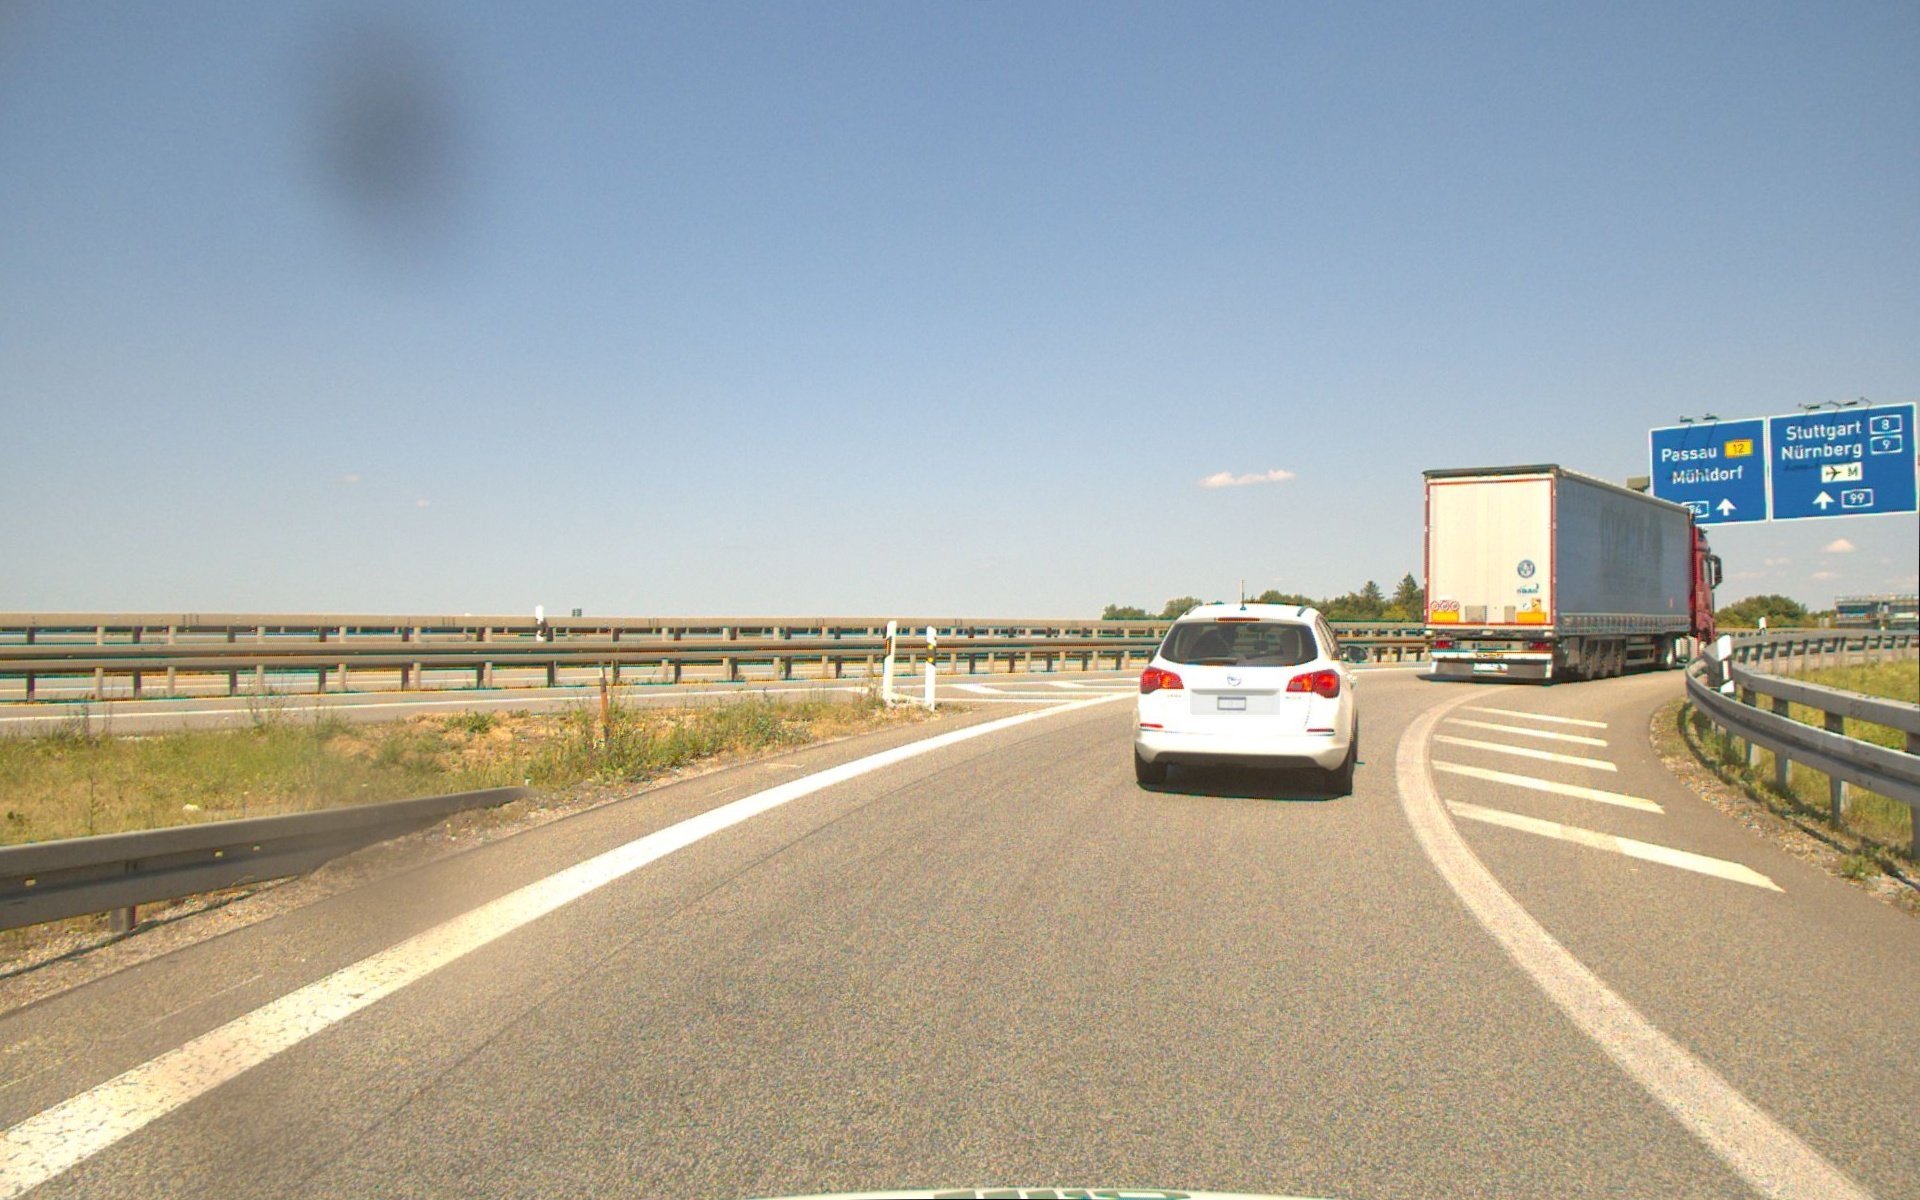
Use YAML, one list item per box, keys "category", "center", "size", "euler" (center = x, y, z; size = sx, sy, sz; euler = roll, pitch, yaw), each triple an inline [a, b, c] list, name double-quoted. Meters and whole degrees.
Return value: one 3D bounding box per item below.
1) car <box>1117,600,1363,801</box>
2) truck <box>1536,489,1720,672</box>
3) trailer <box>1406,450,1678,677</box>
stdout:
- category: "car"
  center: [2.618, 0.754, 14.621]
  size: [1.815, 1.468, 4.375]
  euler: [1, 0, 14]
- category: "truck"
  center: [17.001, -0.332, 41.816]
  size: [2.863, 4.218, 6.900]
  euler: [0, -2, 35]
- category: "trailer"
  center: [13.049, -0.488, 36.175]
  size: [2.862, 4.218, 11.219]
  euler: [0, -2, 34]
